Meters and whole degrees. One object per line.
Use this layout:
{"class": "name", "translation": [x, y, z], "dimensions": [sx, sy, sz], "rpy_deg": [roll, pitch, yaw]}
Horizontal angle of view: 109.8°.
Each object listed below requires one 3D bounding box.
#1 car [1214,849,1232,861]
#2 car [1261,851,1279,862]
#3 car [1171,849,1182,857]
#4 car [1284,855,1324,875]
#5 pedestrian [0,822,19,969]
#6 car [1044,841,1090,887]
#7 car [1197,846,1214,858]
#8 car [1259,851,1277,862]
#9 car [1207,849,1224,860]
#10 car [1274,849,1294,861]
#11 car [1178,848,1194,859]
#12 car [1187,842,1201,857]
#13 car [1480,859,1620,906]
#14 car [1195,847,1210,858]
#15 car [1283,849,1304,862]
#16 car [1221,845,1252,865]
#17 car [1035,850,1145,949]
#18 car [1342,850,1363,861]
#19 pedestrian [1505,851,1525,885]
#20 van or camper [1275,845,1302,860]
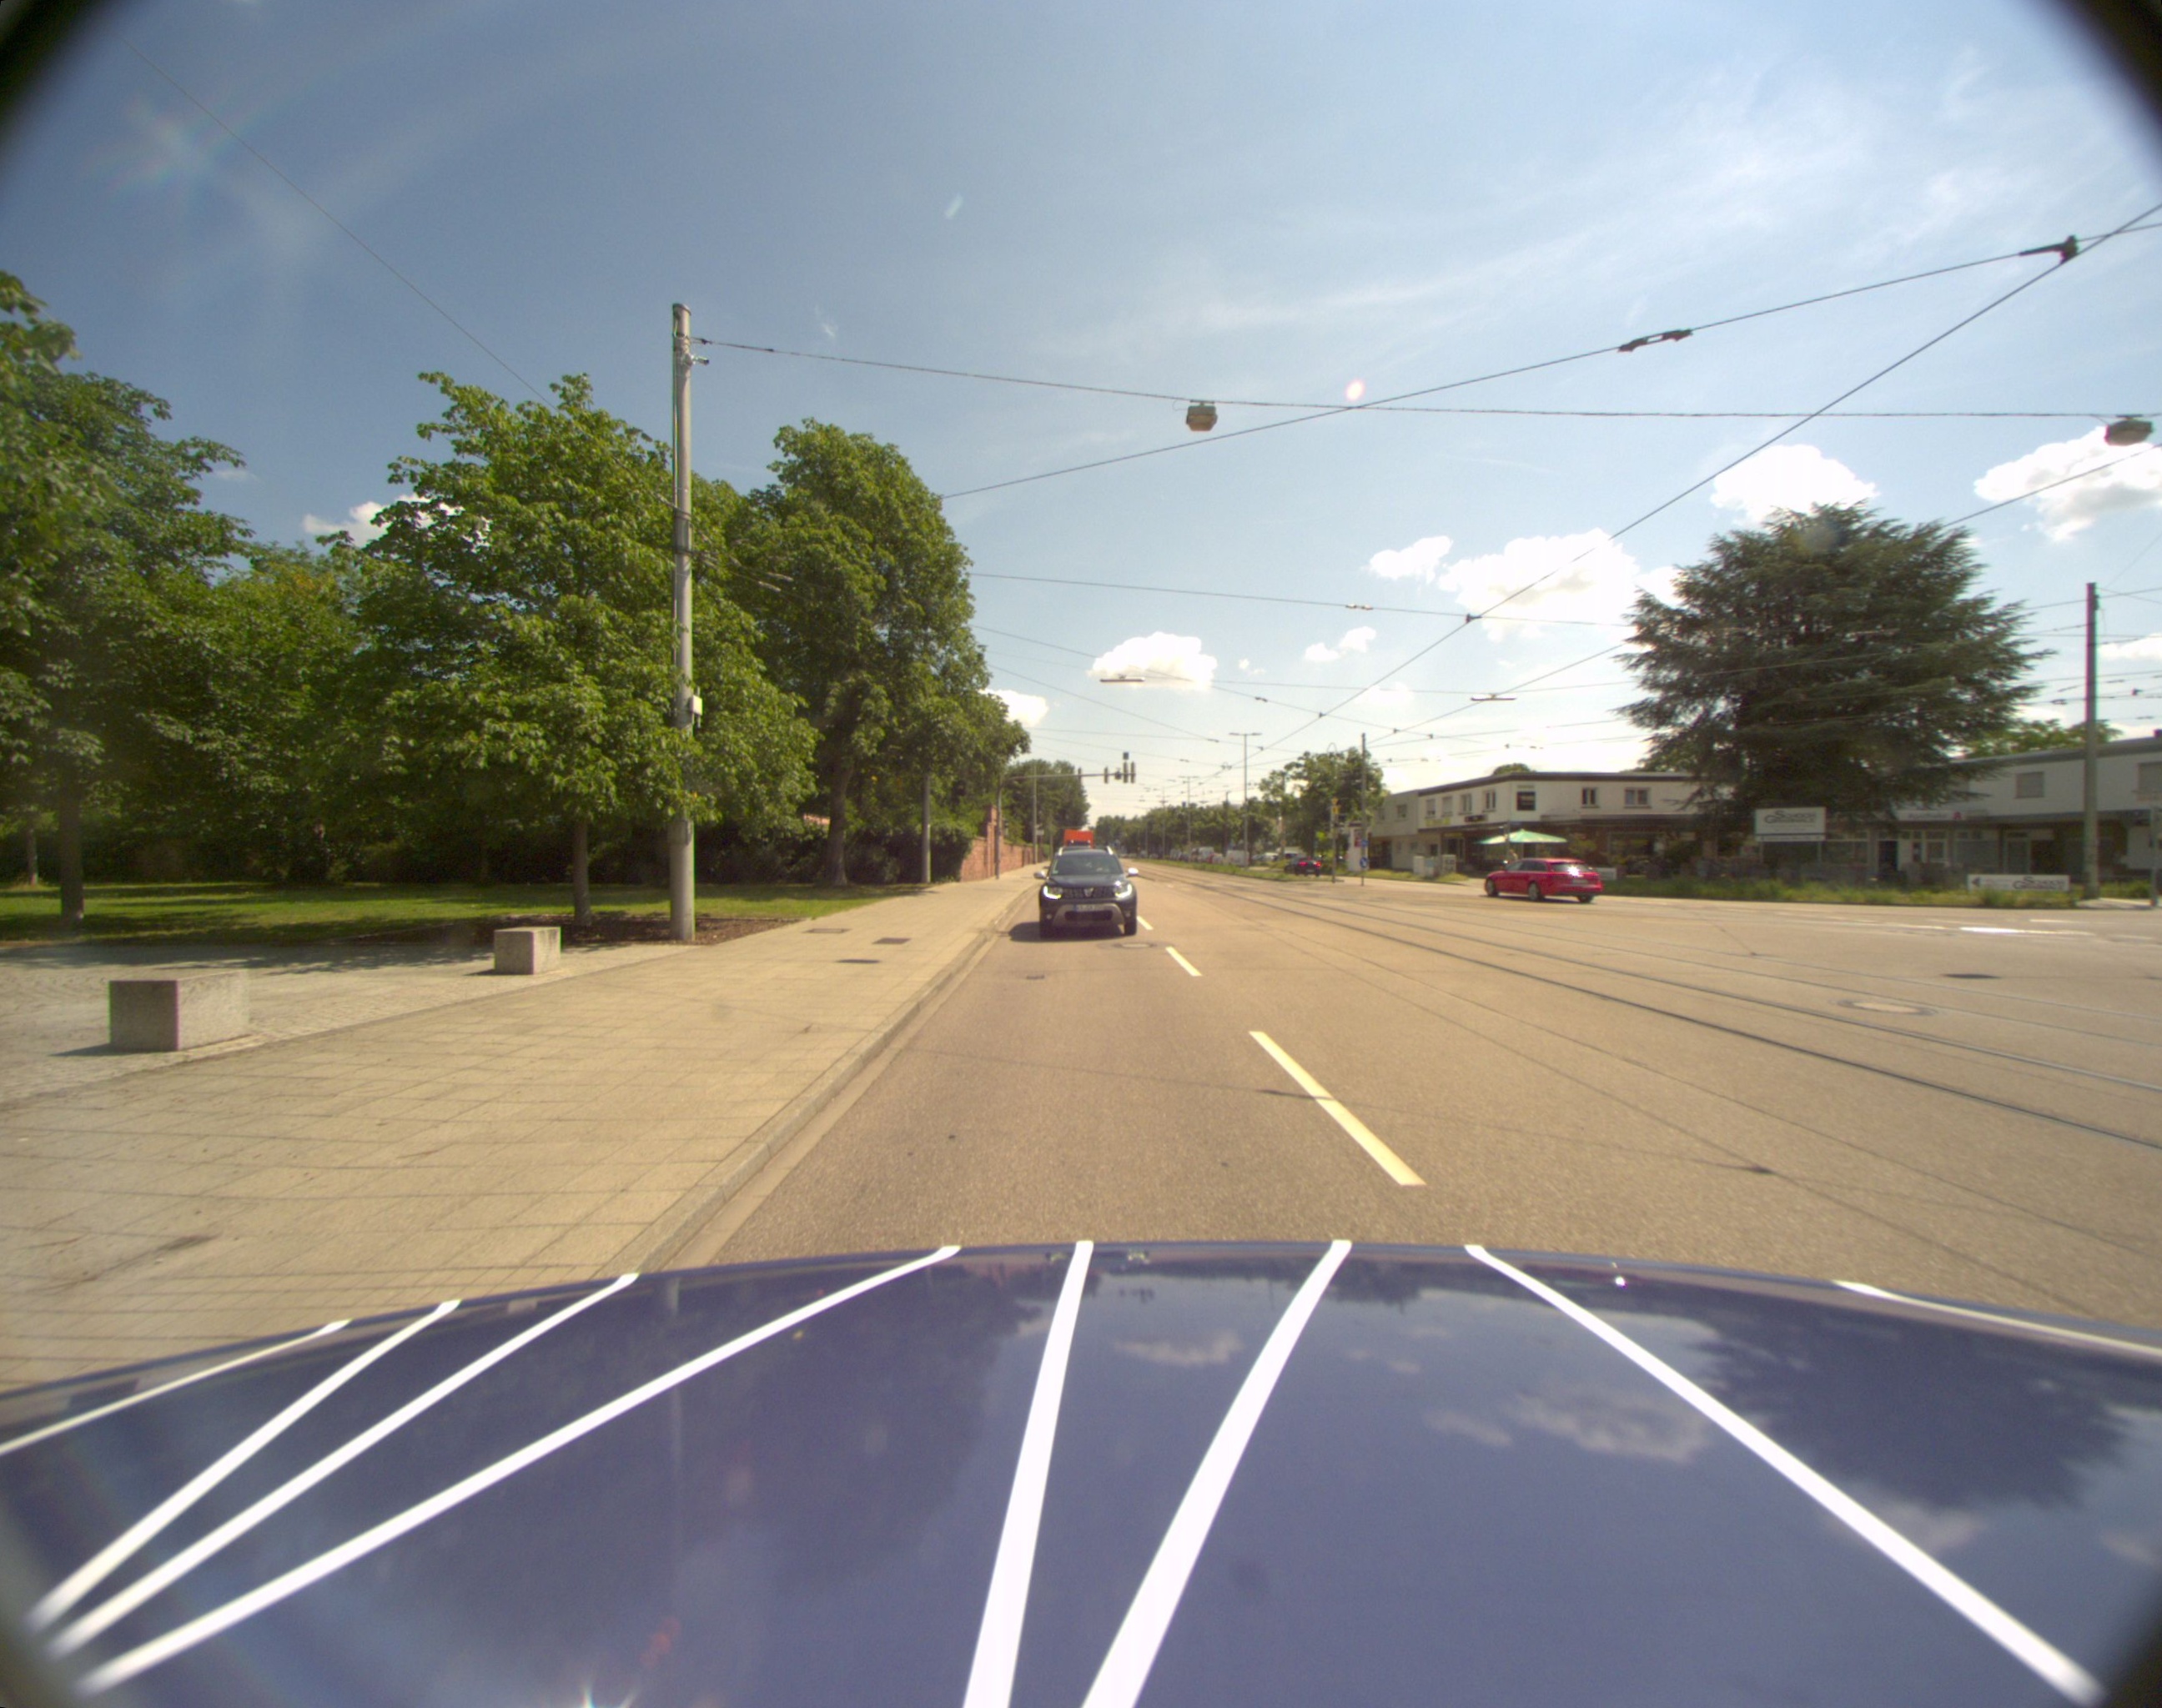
{"class": "car", "translation": [20.051, 0.110, 107.205], "dimensions": [1.744, 1.586, 3.999], "rpy_deg": [1, 0, -1]}
{"class": "car", "translation": [29.429, 0.409, 118.149], "dimensions": [1.744, 1.683, 3.999], "rpy_deg": [1, 0, -1]}
{"class": "car", "translation": [19.625, -0.211, 156.018], "dimensions": [1.744, 1.683, 3.999], "rpy_deg": [1, 0, -1]}
{"class": "car", "translation": [16.436, 0.799, 56.130], "dimensions": [1.784, 1.346, 4.000], "rpy_deg": [1, 0, 1]}
{"class": "pedestrian", "translation": [-13.478, 0.507, 8.992], "dimensions": [0.677, 1.788, 0.809], "rpy_deg": [1, 1, 4]}
{"class": "car", "translation": [-0.593, 0.425, 35.259], "dimensions": [1.998, 2.002, 3.999], "rpy_deg": [0, 1, 0]}
{"class": "car", "translation": [19.585, -0.325, 119.503], "dimensions": [1.966, 1.953, 3.999], "rpy_deg": [1, 0, -1]}
{"class": "car", "translation": [30.339, 0.386, 123.382], "dimensions": [1.744, 1.683, 3.999], "rpy_deg": [1, 0, -1]}
{"class": "car", "translation": [20.005, 0.027, 112.936], "dimensions": [1.744, 1.586, 3.999], "rpy_deg": [1, 0, -1]}
{"class": "car", "translation": [29.412, 0.193, 109.970], "dimensions": [1.744, 1.683, 3.999], "rpy_deg": [1, 0, -1]}
{"class": "car", "translation": [15.413, -0.033, 111.840], "dimensions": [1.744, 1.586, 3.999], "rpy_deg": [1, 0, -1]}
{"class": "car", "translation": [19.954, -0.863, 134.287], "dimensions": [1.744, 2.573, 3.999], "rpy_deg": [1, 0, -1]}
{"class": "car", "translation": [16.203, 0.915, 26.626], "dimensions": [1.998, 1.441, 4.821], "rpy_deg": [1, 0, 1]}
{"class": "car", "translation": [19.982, -0.240, 124.976], "dimensions": [1.744, 1.683, 3.999], "rpy_deg": [1, 0, -1]}
{"class": "car", "translation": [29.313, 0.187, 104.977], "dimensions": [1.744, 1.683, 3.999], "rpy_deg": [1, 0, -1]}
{"class": "car", "translation": [15.528, 0.096, 76.129], "dimensions": [1.863, 1.865, 4.553], "rpy_deg": [1, 0, -3]}
{"class": "car", "translation": [0.023, 0.775, 15.381], "dimensions": [1.846, 1.565, 4.485], "rpy_deg": [-2, 1, -4]}
{"class": "car", "translation": [42.890, 0.245, 120.137], "dimensions": [1.744, 1.683, 3.999], "rpy_deg": [1, 0, -1]}
{"class": "pedestrian", "translation": [22.934, 0.748, 40.176], "dimensions": [0.488, 1.765, 0.682], "rpy_deg": [-5, 3, -19]}
{"class": "van or camper", "translation": [44.216, -0.374, 161.785], "dimensions": [5.157, 3.099, 2.247], "rpy_deg": [1, 1, 0]}
